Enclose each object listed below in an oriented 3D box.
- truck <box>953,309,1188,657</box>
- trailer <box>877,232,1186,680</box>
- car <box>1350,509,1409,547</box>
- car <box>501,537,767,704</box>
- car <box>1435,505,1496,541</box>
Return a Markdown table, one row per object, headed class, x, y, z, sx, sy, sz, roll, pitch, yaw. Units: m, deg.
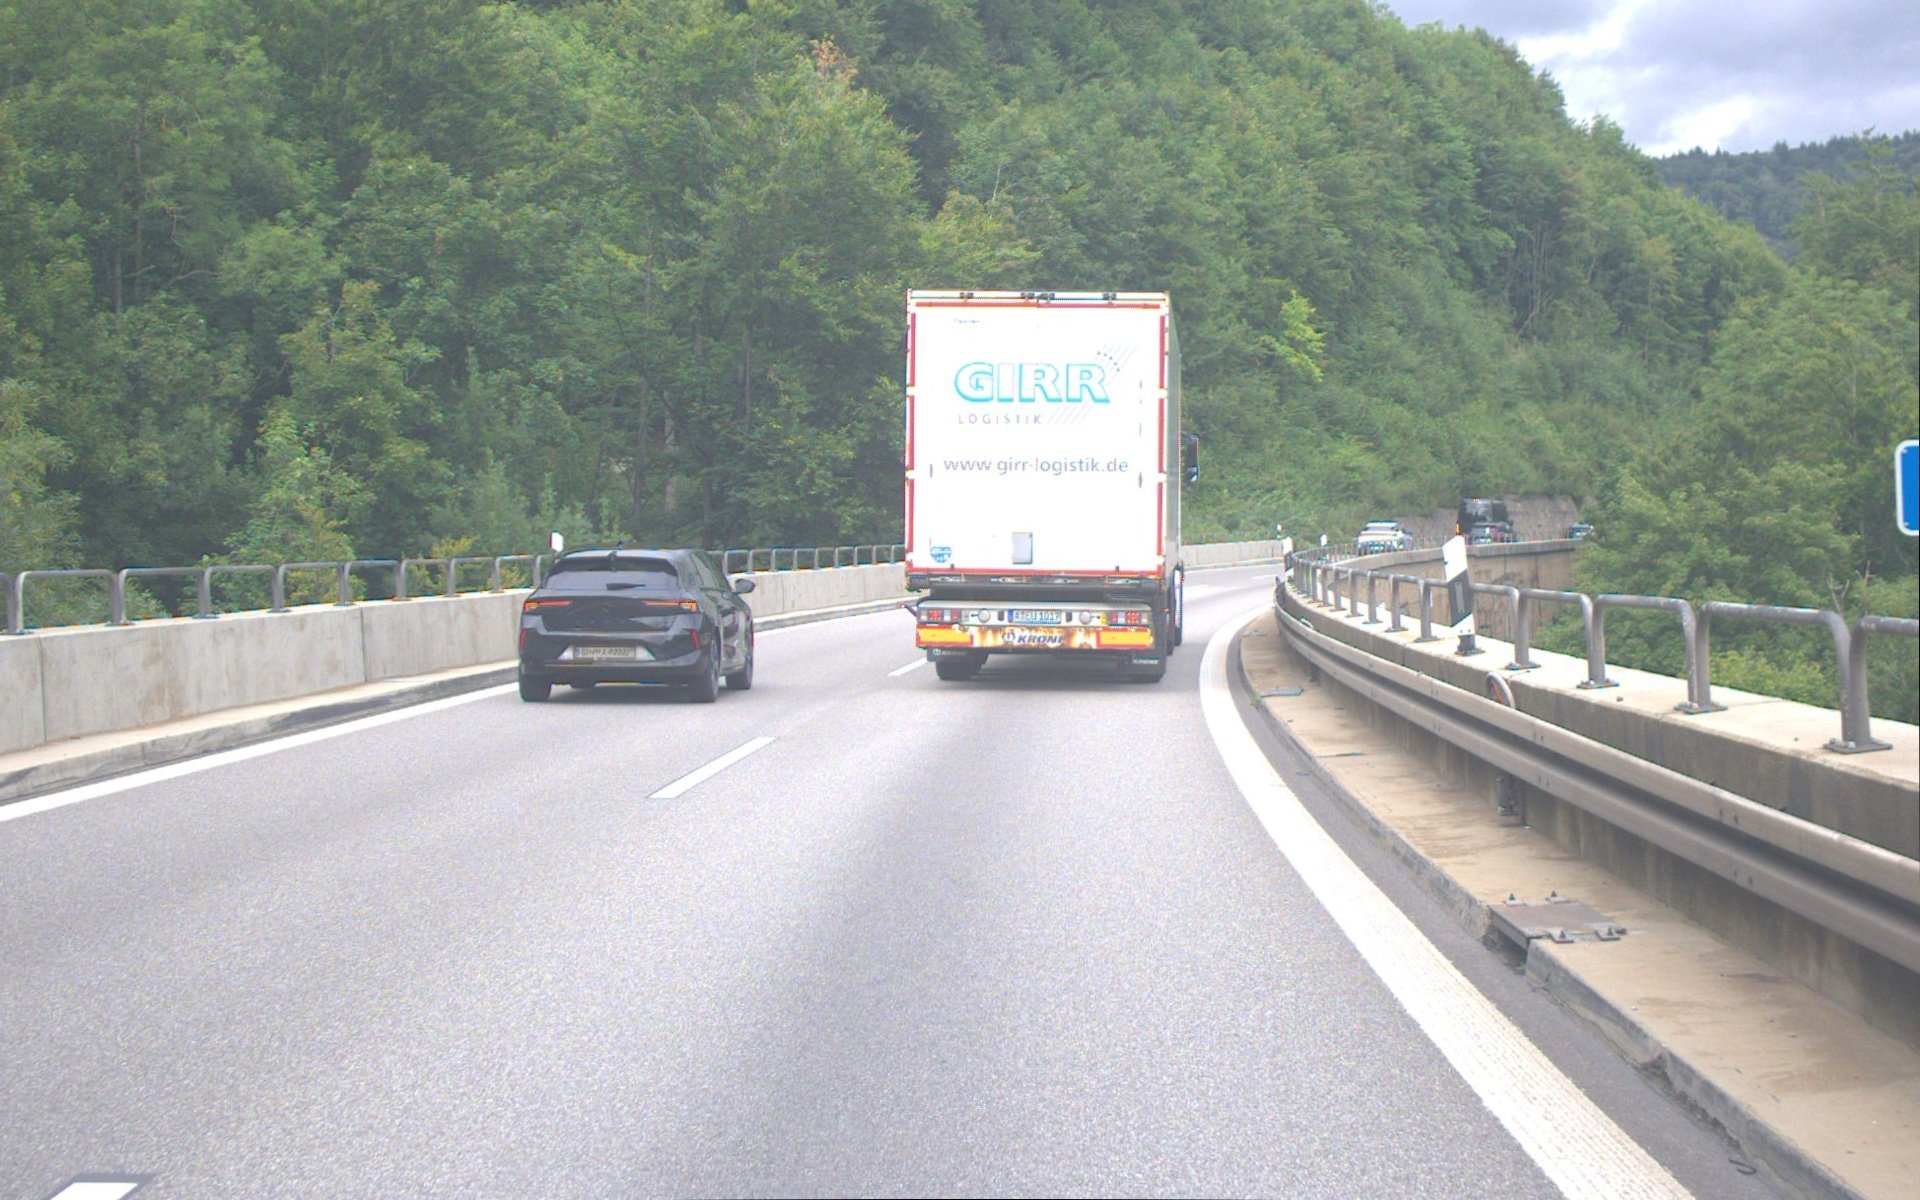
| class | x | y | z | sx | sy | sz | roll | pitch | yaw |
| --- | --- | --- | --- | --- | --- | --- | --- | --- | --- |
| truck | 1.577 | -1.472 | 45.842 | 2.814 | 4.288 | 6.258 | -1 | 0 | 4 |
| trailer | 1.088 | -1.426 | 39.372 | 2.814 | 4.288 | 12.243 | -1 | 0 | 4 |
| car | 18.406 | -3.143 | 150.704 | 1.995 | 1.560 | 3.997 | 0 | 0 | 16 |
| car | -2.997 | 0.151 | 32.522 | 1.773 | 1.456 | 4.581 | 0 | 1 | 4 |
| car | 23.323 | -3.538 | 158.522 | 1.995 | 1.560 | 3.996 | 0 | 0 | 20 |
